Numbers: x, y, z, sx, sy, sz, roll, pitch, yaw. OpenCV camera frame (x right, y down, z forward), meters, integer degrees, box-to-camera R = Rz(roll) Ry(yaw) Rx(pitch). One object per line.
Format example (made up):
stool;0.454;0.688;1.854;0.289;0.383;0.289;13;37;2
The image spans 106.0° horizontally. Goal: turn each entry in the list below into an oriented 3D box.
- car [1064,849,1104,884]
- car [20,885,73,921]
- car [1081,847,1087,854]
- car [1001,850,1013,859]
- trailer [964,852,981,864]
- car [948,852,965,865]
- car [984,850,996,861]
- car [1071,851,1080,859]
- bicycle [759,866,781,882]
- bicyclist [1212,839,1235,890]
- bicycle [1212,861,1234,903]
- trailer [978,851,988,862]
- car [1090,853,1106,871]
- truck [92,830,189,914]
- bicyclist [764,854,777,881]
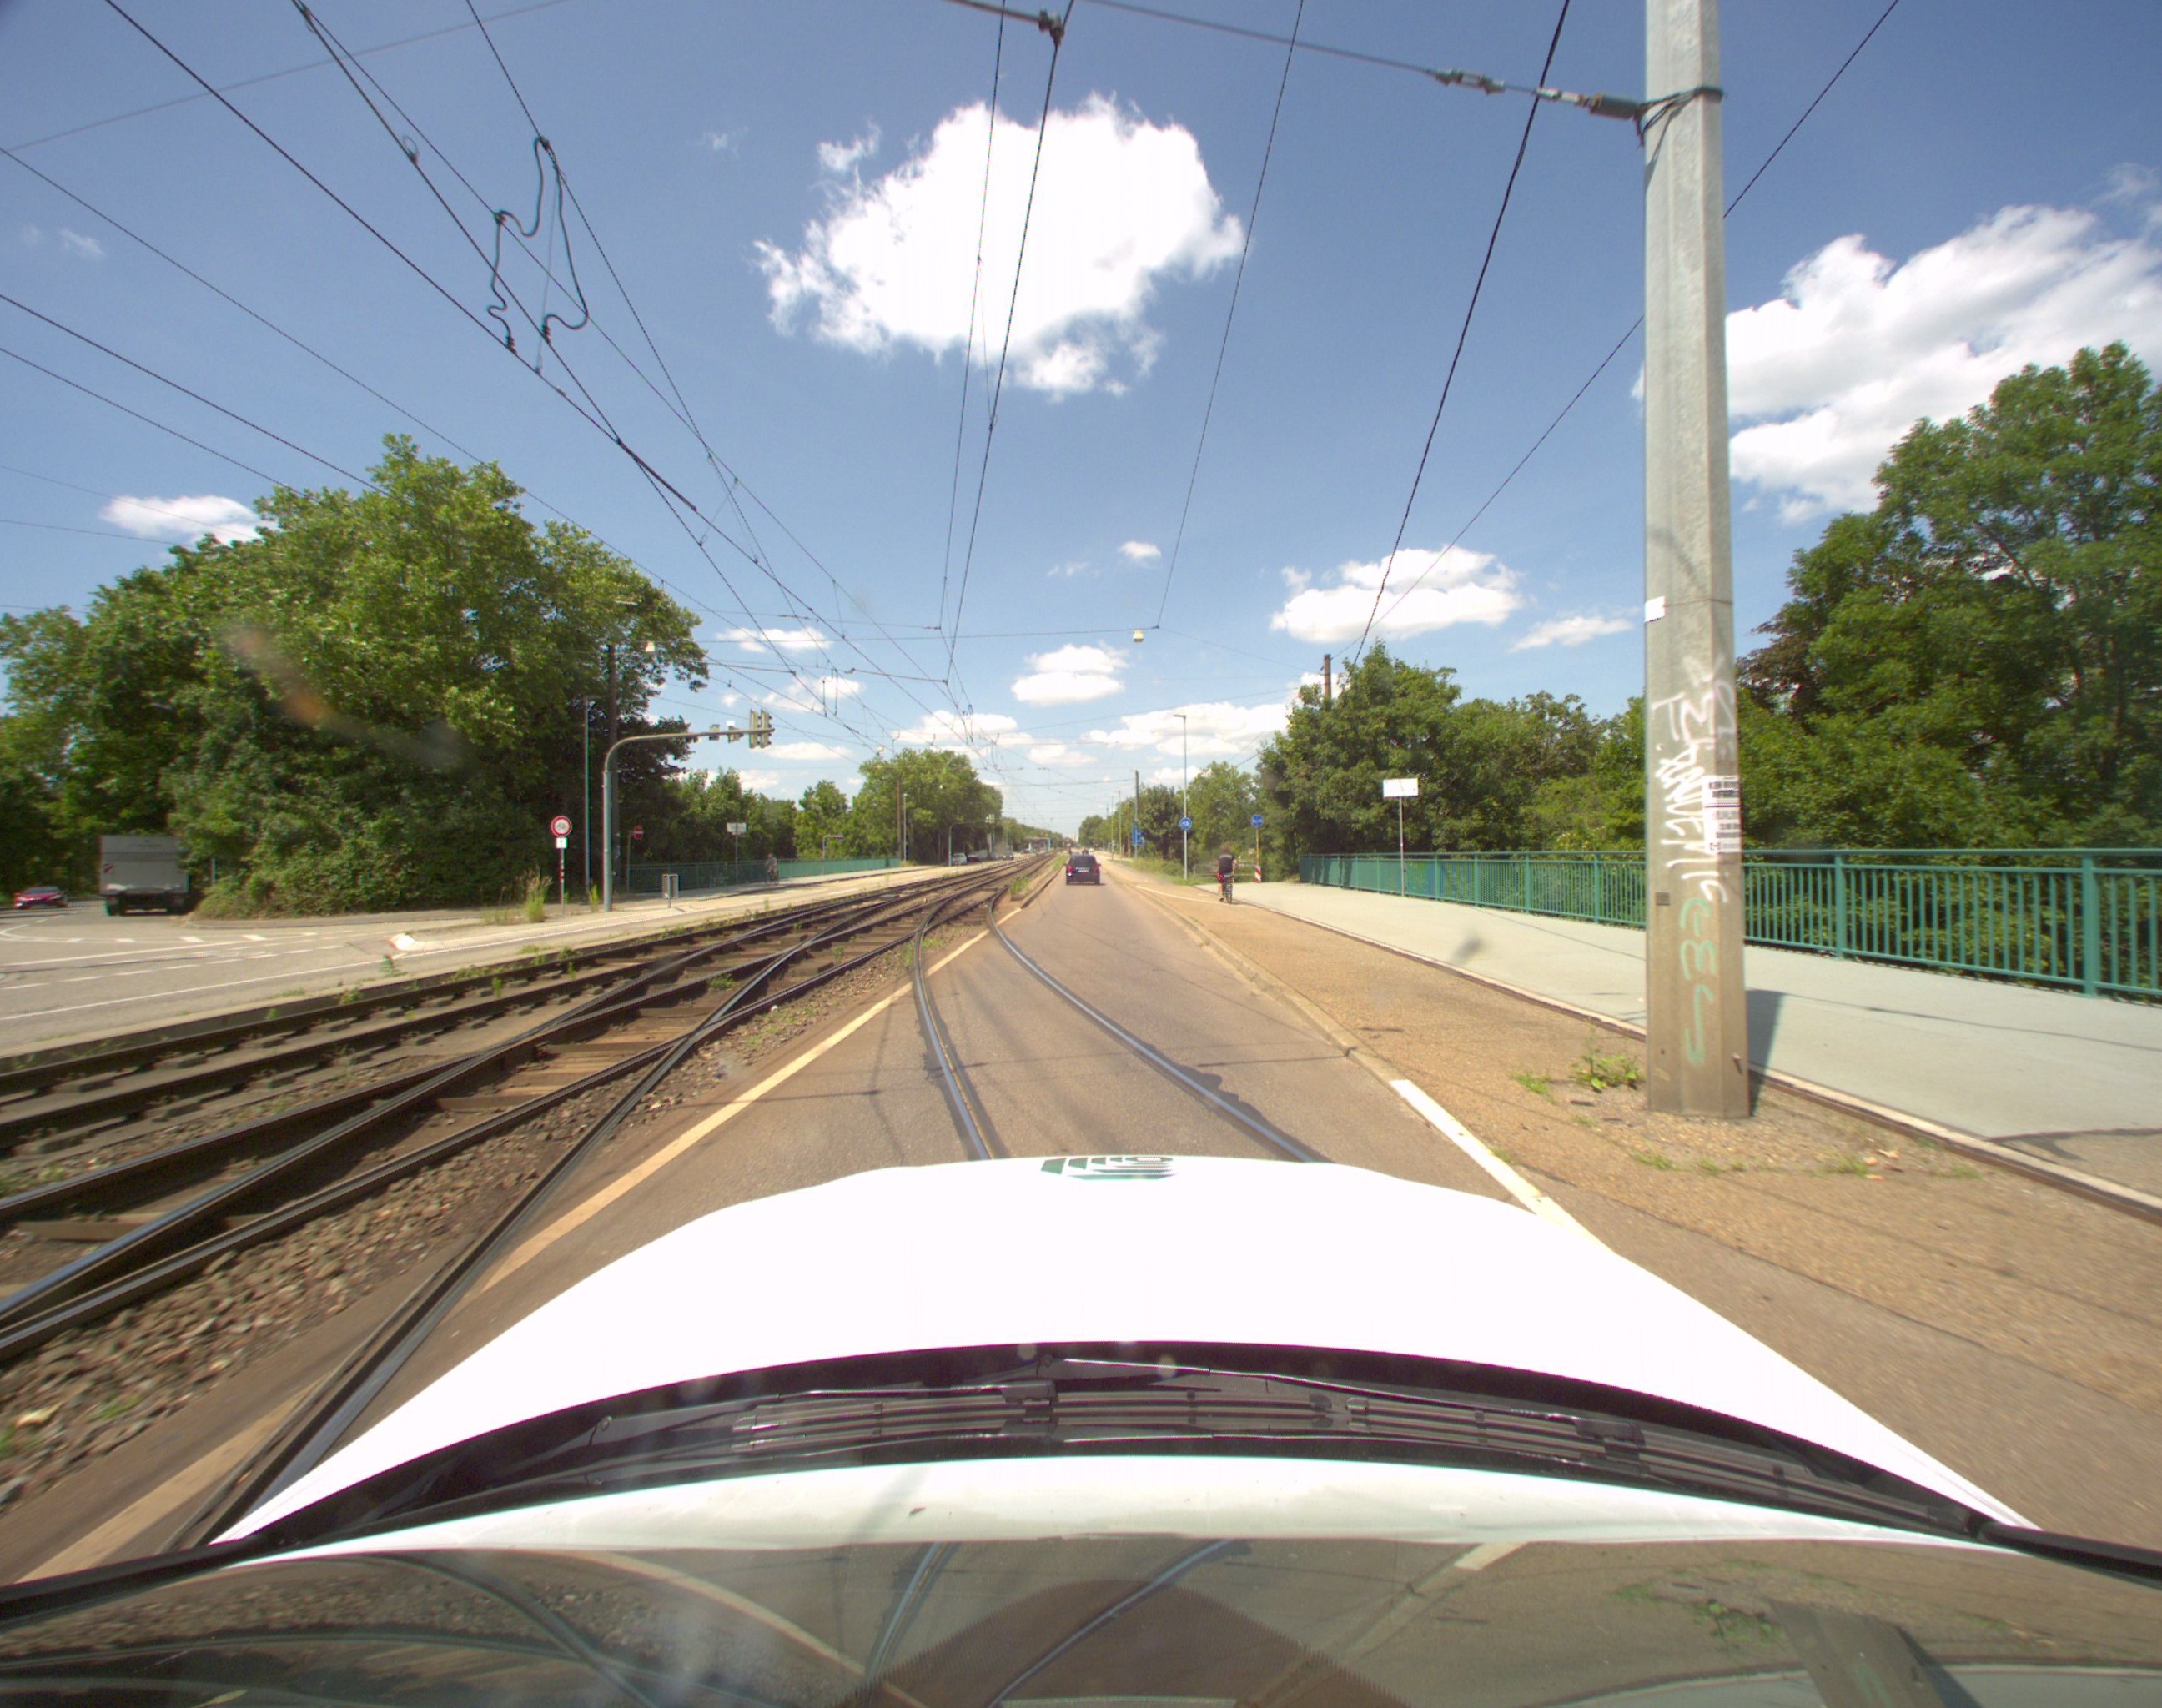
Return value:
car;0.217;0.601;42.906;1.845;1.570;4.392;1;2;3
car;-66.008;3.085;52.026;3.949;2.014;2.012;0;0;39
car;0.779;-1.093;238.850;1.781;2.013;3.999;1;1;-1
car;-13.976;0.051;154.011;1.870;1.720;5.327;0;0;-1
trailer;-17.048;0.635;128.334;2.457;1.889;5.951;0;0;-5
car;-17.144;0.577;112.645;1.715;1.630;4.614;-3;2;-2
car;-18.249;0.325;163.575;1.848;2.013;4.000;1;1;0
car;-1.152;0.197;178.652;1.879;1.639;4.000;3;1;0
bicycle;-17.197;1.096;45.076;0.467;0.868;1.743;0;0;2
bicyclist;4.254;0.296;24.329;0.582;1.494;0.558;1;1;4
bicycle;4.237;0.817;24.343;0.430;1.152;1.857;1;1;4
trailer;-17.862;0.454;148.760;1.606;2.013;3.911;1;1;-4
car;2.159;1.006;101.940;1.986;2.013;4.002;1;1;1
truck;-44.397;0.810;38.441;5.223;3.655;2.866;-1;0;40
bicyclist;-17.192;0.729;45.162;0.454;1.474;0.633;0;0;2
